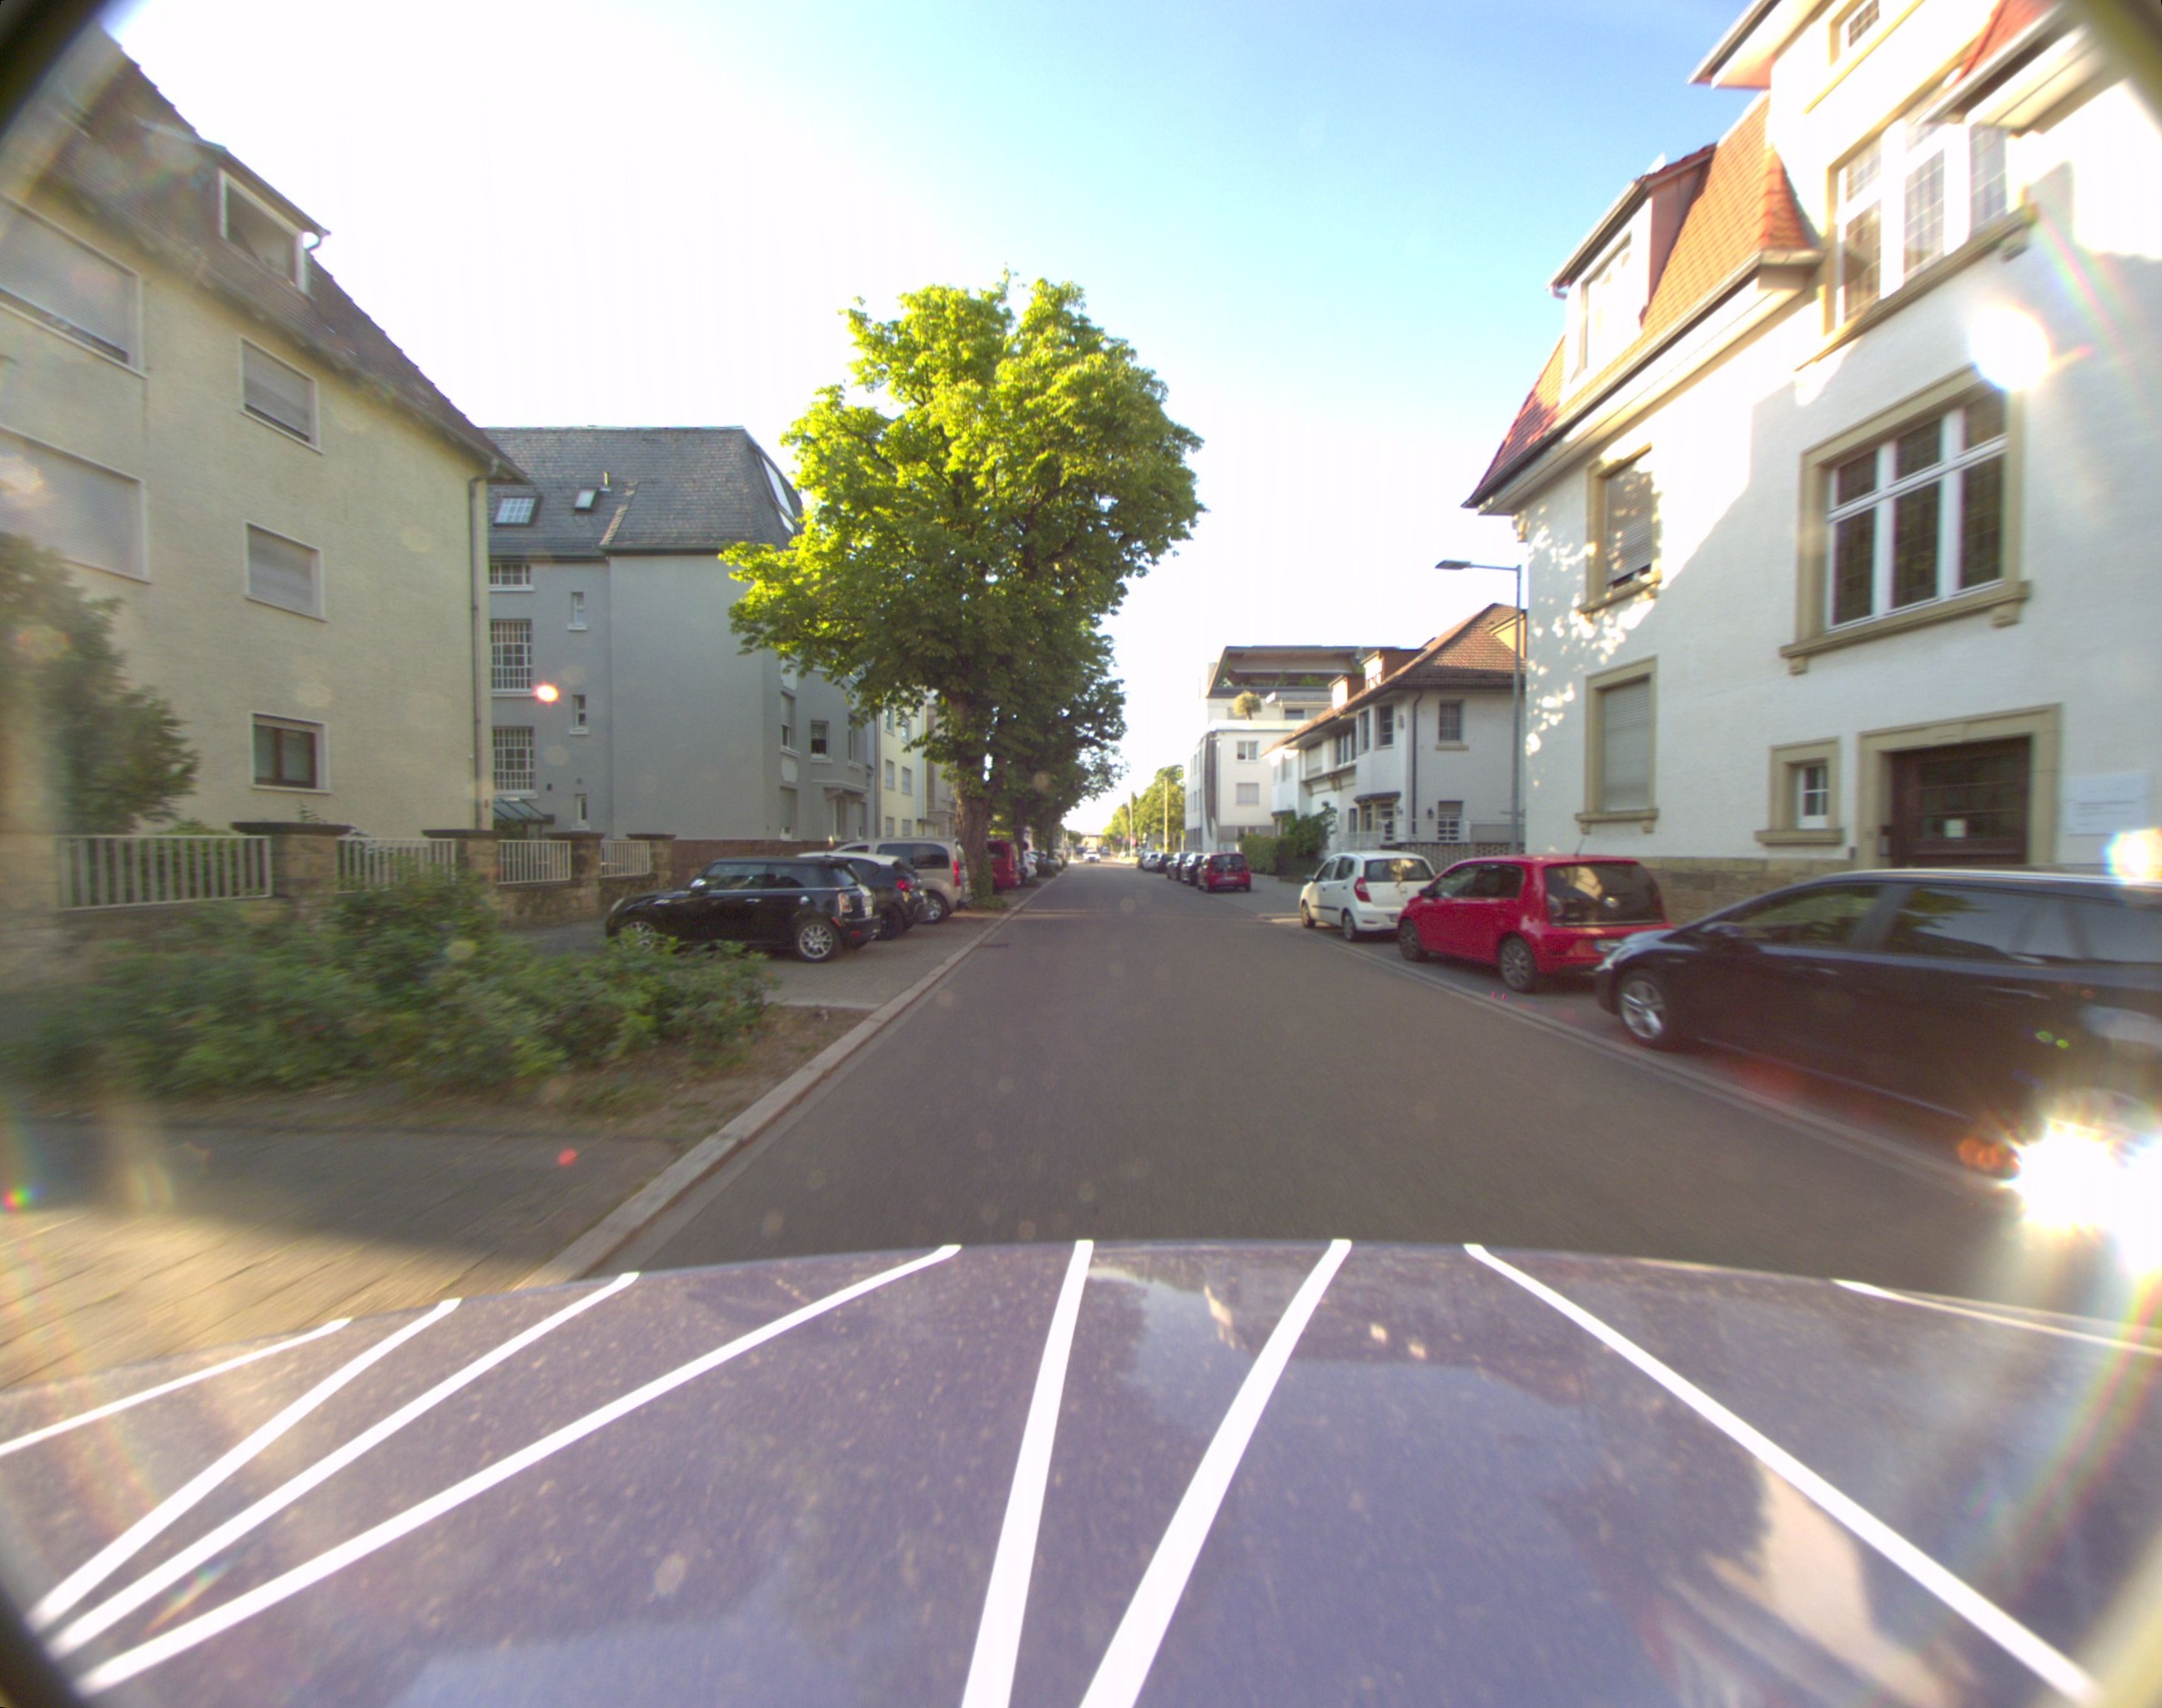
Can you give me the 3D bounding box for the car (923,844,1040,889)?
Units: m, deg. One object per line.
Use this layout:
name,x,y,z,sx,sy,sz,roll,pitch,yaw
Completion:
car,-3.821,0.448,29.573,4.207,1.695,1.792,0,1,4

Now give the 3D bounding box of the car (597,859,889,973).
car,-4.700,0.826,10.935,3.411,1.419,1.758,1,1,1

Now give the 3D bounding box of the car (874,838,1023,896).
car,-4.508,0.426,26.383,4.819,1.925,1.950,0,1,1

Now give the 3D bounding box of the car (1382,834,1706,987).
car,5.337,0.535,9.381,1.586,1.468,3.704,-2,1,-3

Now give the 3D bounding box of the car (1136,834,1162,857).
car,5.972,-0.776,66.965,1.913,1.937,4.198,-2,1,1

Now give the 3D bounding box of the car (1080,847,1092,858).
car,0.834,-0.311,130.264,1.913,1.679,4.198,-2,1,1

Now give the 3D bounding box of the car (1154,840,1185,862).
car,5.971,-0.191,51.650,1.723,1.386,3.907,-2,1,2

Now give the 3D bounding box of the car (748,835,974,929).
car,-4.553,0.546,16.208,4.313,1.874,1.758,0,2,-2

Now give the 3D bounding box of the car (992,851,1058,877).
car,-3.176,0.540,43.639,3.680,1.434,1.601,0,1,1

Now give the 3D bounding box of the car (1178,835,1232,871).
car,5.536,-0.086,34.411,1.742,1.451,4.377,-2,1,1

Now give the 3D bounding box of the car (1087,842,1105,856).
car,1.709,-0.606,89.857,1.998,1.690,4.423,-1,1,0

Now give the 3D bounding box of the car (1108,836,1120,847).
car,5.679,-2.157,131.387,1.913,1.679,4.198,-2,1,1

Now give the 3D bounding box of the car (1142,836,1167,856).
car,5.917,-0.672,61.524,1.723,1.489,3.907,-2,1,2

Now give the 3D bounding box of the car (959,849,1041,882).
car,-3.817,0.529,36.213,3.680,1.489,1.676,0,1,1

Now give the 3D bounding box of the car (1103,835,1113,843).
car,5.779,-3.242,162.392,1.913,1.679,4.198,-2,1,1

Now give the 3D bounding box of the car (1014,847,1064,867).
car,-3.298,0.218,59.584,3.828,1.477,1.600,0,1,-6

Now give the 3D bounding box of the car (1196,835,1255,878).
car,5.414,0.066,28.865,1.654,1.474,3.429,-2,1,2

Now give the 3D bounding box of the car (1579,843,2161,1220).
car,5.127,0.687,4.275,1.657,1.446,4.630,-2,1,1

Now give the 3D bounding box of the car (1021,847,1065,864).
car,-3.338,0.097,67.045,3.825,1.477,1.601,0,1,1

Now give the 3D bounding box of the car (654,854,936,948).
car,-4.877,0.780,13.448,4.313,1.532,1.758,0,1,-2

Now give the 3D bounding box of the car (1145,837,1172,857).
car,5.761,-0.508,56.958,1.723,1.386,3.907,-2,1,2

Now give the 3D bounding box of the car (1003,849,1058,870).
car,-3.586,0.397,54.181,3.825,1.477,1.601,0,1,1

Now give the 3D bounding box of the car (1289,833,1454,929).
car,5.206,0.407,14.123,1.585,1.512,3.705,-2,1,-1

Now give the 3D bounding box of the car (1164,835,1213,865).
car,5.635,-0.240,40.371,1.743,1.451,4.563,-2,1,-2
